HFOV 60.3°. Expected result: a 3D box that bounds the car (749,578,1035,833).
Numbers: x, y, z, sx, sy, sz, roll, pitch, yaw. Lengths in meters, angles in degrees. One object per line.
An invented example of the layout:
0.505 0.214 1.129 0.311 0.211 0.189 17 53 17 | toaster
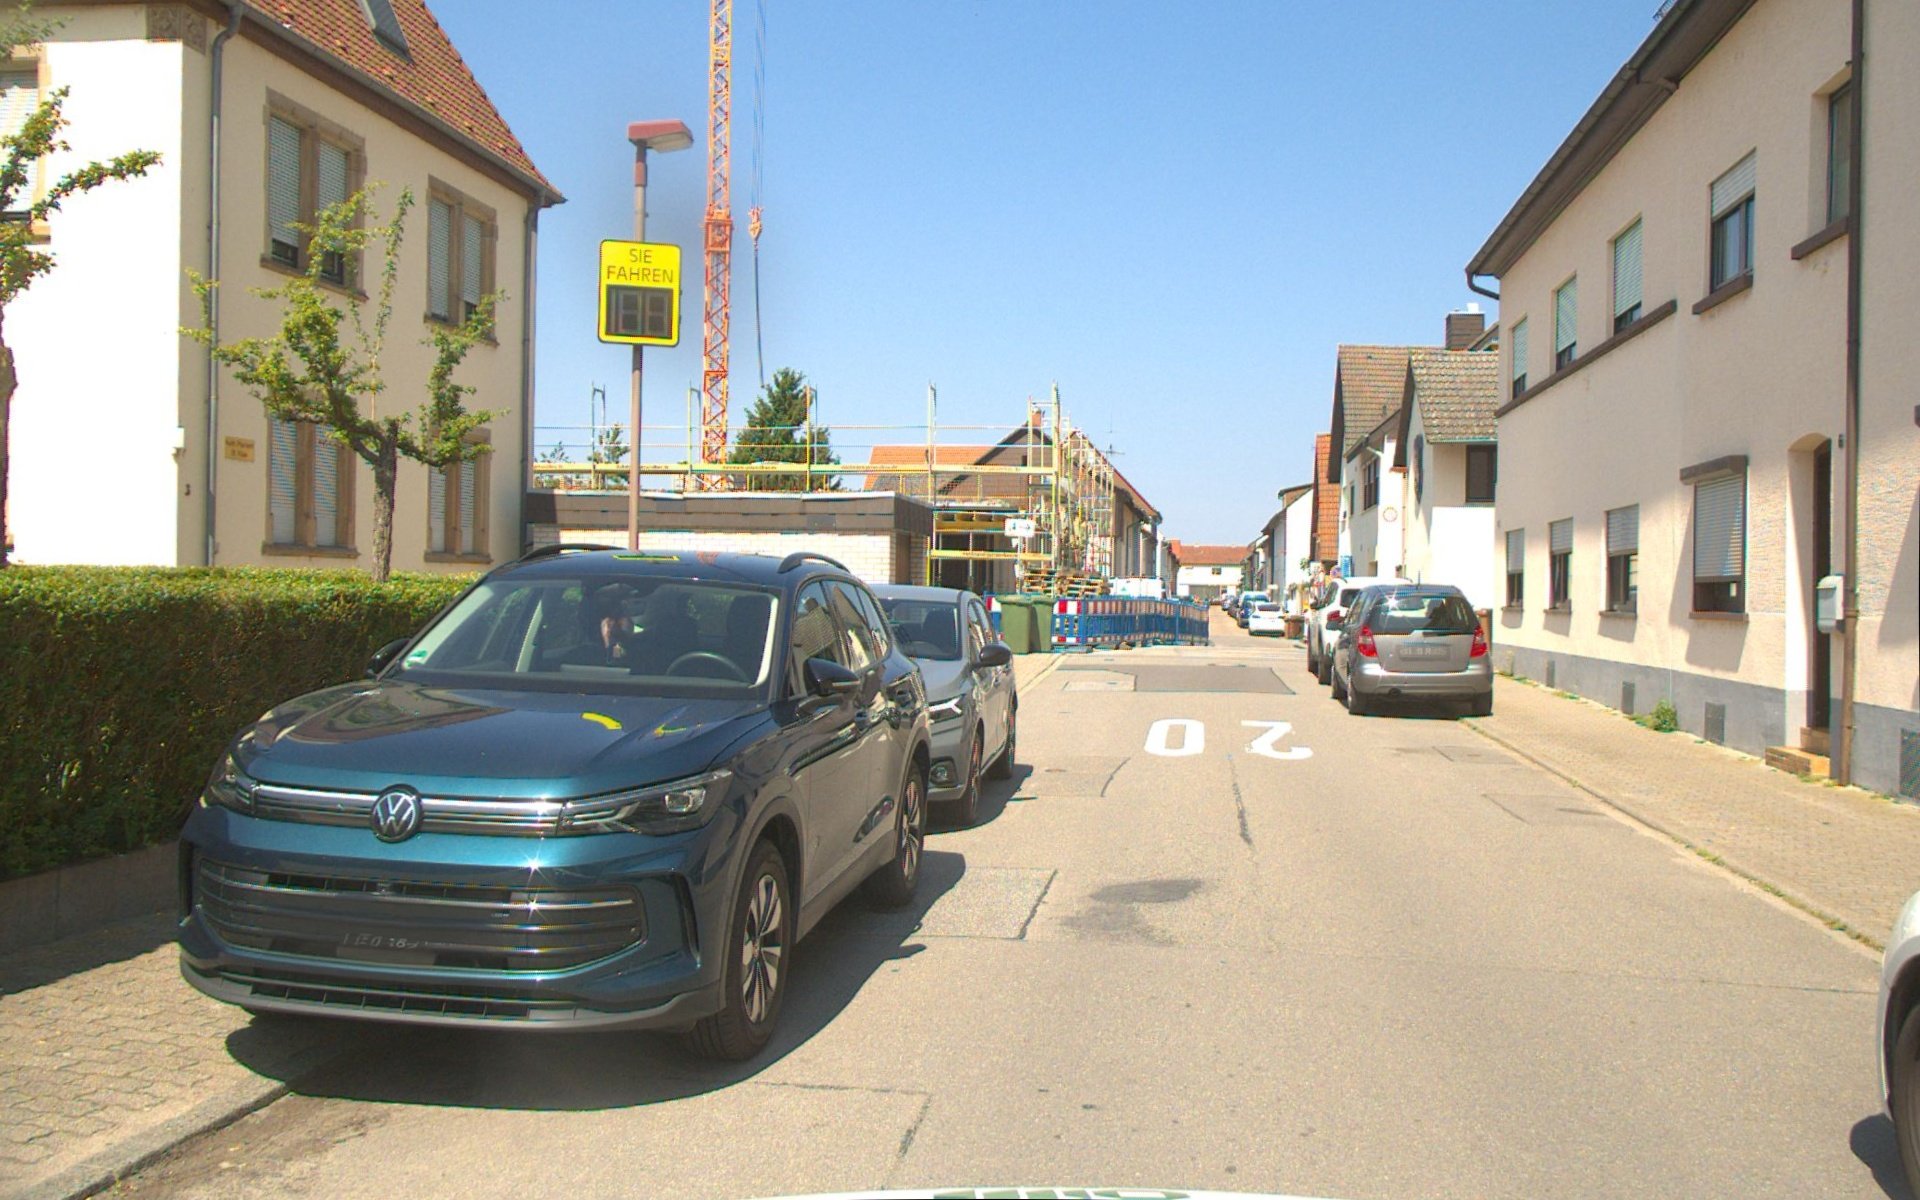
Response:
-0.334 0.647 11.872 1.406 1.500 3.789 1 0 7 | car

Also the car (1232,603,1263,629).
16.276 0.887 93.619 1.522 1.411 3.453 1 0 7 | car

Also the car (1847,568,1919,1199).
3.098 0.725 2.300 1.846 1.569 4.246 1 0 7 | car

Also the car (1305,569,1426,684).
6.539 0.370 26.934 1.531 1.641 3.546 1 2 8 | car

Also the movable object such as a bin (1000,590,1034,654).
1.072 0.405 31.137 0.609 1.176 0.677 1 0 1 | movable object such as a bin

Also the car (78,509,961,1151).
-1.233 0.605 6.580 1.787 1.659 4.220 1 0 9 | car

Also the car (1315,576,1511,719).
5.842 0.537 21.792 1.844 1.583 3.898 2 2 6 | car

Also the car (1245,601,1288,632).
14.535 0.765 78.574 1.926 1.411 4.003 1 0 9 | car

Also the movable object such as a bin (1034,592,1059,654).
1.656 0.437 31.548 0.422 1.176 0.364 1 0 -1 | movable object such as a bin
